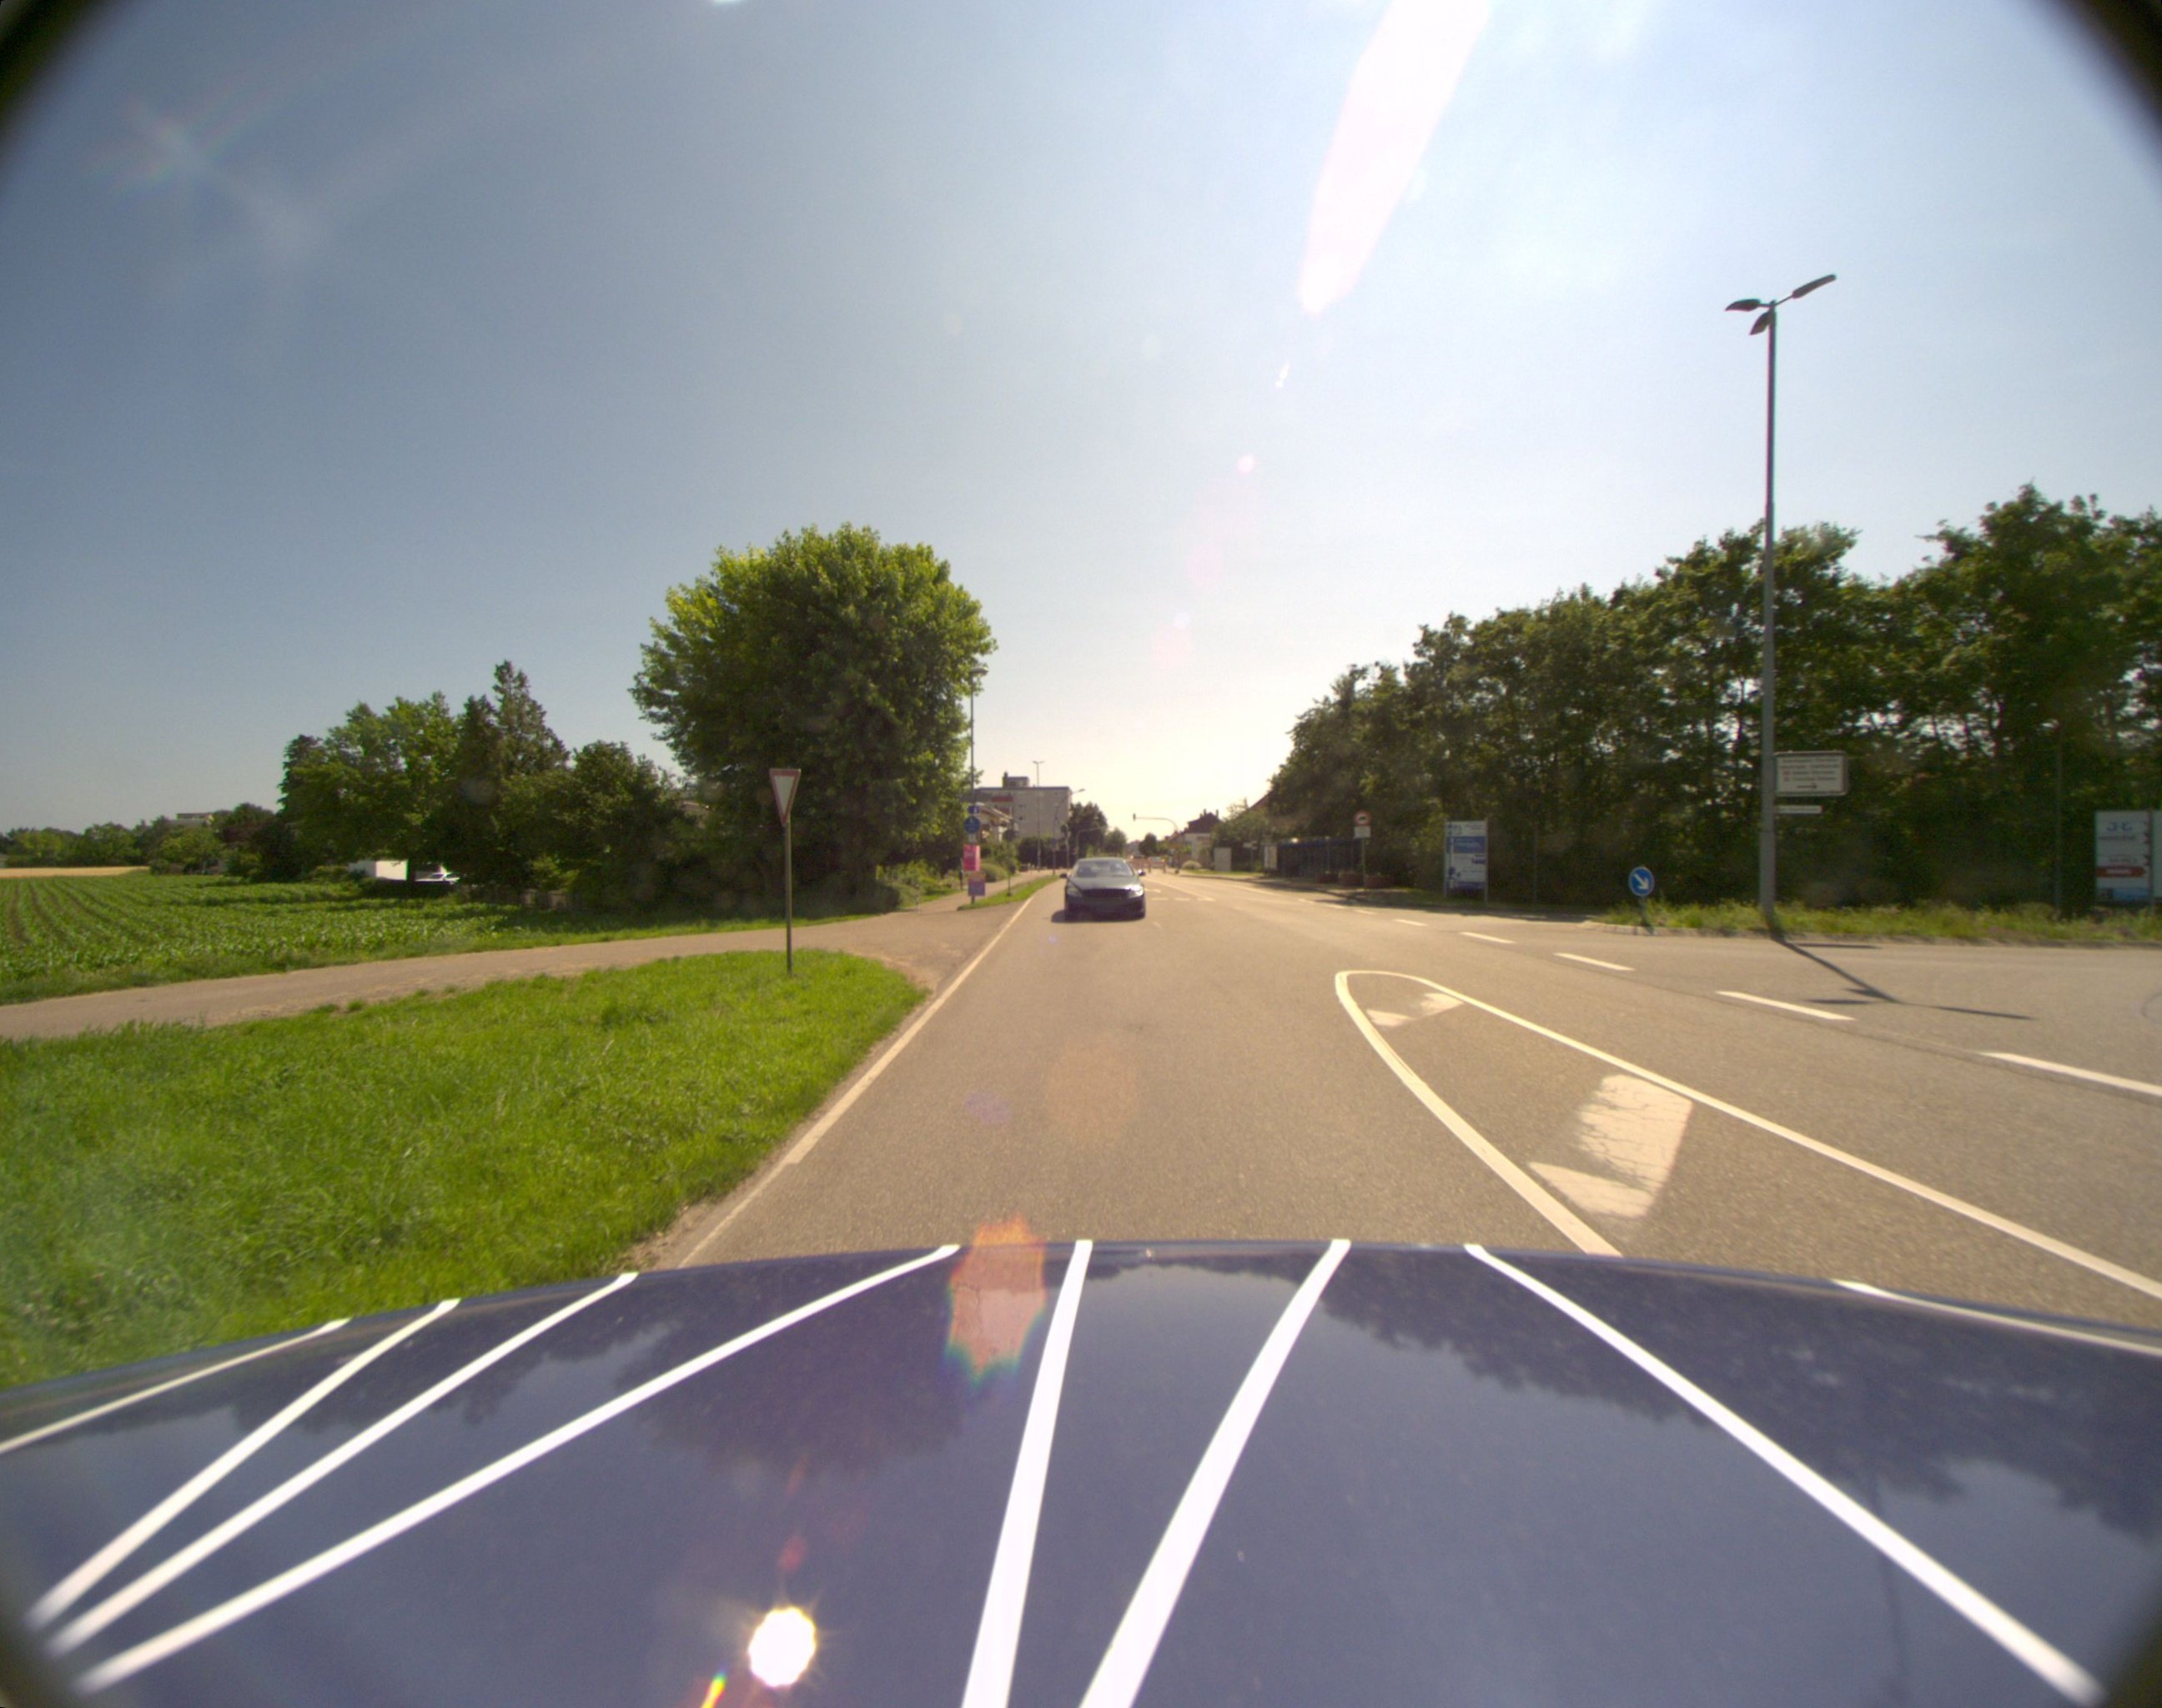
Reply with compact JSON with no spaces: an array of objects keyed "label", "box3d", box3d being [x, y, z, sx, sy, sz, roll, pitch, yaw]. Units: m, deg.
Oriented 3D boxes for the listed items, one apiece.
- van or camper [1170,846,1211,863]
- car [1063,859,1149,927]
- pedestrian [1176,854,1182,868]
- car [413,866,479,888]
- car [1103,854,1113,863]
[{"label":"van or camper","box3d":[17.826,0.089,123.916,6.261,2.827,2.289,0,0,-5]},{"label":"car","box3d":[0.561,0.882,19.358,1.889,1.429,4.838,-2,0,0]},{"label":"pedestrian","box3d":[11.399,0.794,88.500,0.615,1.598,0.688,-3,0,4]},{"label":"car","box3d":[-52.265,1.879,62.621,1.998,1.608,4.000,-1,0,1]},{"label":"car","box3d":[4.987,0.769,139.913,1.872,1.585,4.617,0,0,2]}]
